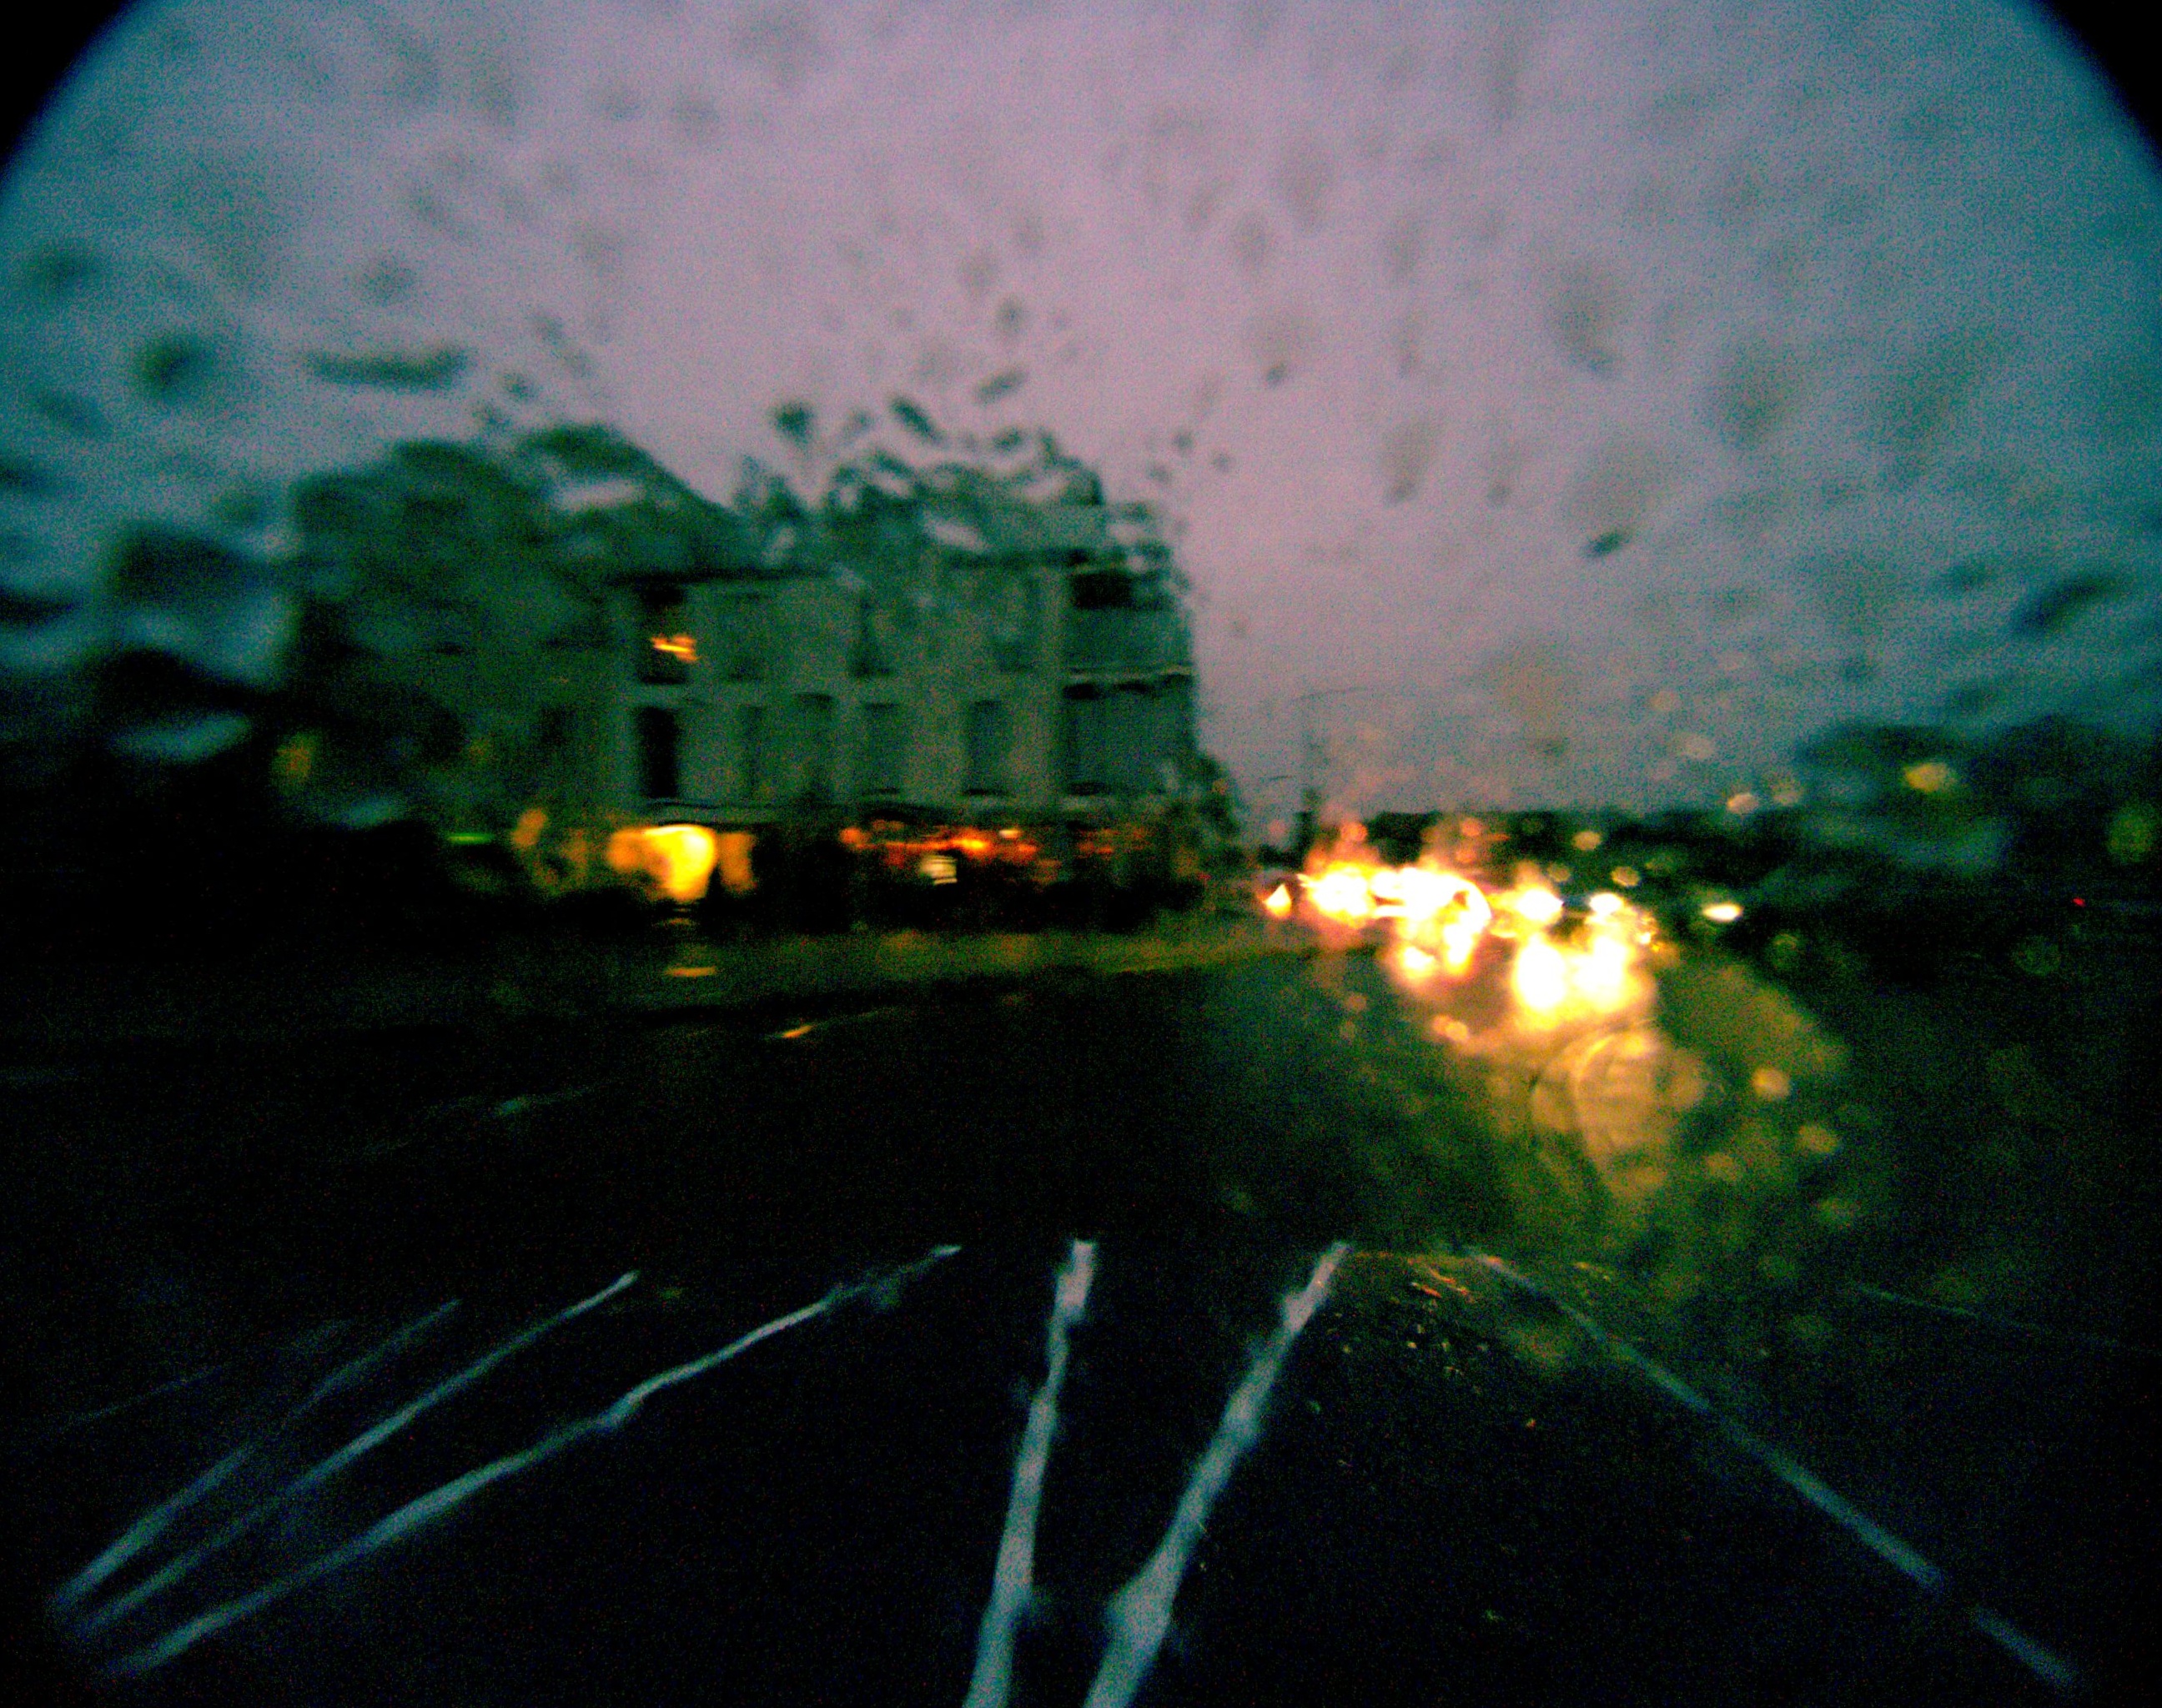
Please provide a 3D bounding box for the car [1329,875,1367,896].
[{"bbox_3d":[19.605,2.329,56.001,1.832,1.534,3.718,0,-2,6],"label":"car"}]

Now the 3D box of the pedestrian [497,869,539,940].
[{"bbox_3d":[-11.692,1.041,15.786,0.451,1.445,0.553,0,-1,-1],"label":"pedestrian"}]

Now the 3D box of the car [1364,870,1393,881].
[{"bbox_3d":[40.993,2.978,104.865,1.800,1.460,4.614,1,-1,-5],"label":"car"}]

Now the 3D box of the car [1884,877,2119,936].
[{"bbox_3d":[27.466,1.475,22.848,1.917,1.522,4.171,1,-1,-26],"label":"car"}]

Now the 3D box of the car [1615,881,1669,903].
[{"bbox_3d":[41.525,2.819,56.346,1.477,1.499,3.505,1,-1,2],"label":"car"}]

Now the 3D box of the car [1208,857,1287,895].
[{"bbox_3d":[10.268,1.346,47.186,4.547,1.922,1.977,5,-1,8],"label":"car"}]

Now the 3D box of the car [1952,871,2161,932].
[{"bbox_3d":[29.886,1.393,23.236,1.843,1.660,3.890,3,-2,-22],"label":"car"}]

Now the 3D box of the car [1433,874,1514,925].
[{"bbox_3d":[13.340,1.484,26.059,1.679,1.614,4.006,-1,-1,16],"label":"car"}]

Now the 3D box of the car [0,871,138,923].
[{"bbox_3d":[-29.864,1.214,21.924,3.441,1.465,1.520,0,-1,1],"label":"car"}]

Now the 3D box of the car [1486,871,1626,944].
[{"bbox_3d":[11.410,1.247,18.575,1.886,1.569,4.006,-2,-2,17],"label":"car"}]

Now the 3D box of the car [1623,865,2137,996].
[{"bbox_3d":[10.640,0.977,10.586,4.624,1.583,1.956,-1,-2,12],"label":"car"}]

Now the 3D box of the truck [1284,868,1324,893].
[{"bbox_3d":[20.484,2.381,70.047,2.246,2.217,6.107,0,-1,4],"label":"truck"}]

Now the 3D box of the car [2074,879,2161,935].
[{"bbox_3d":[33.041,1.633,22.541,1.767,1.621,3.994,3,-2,-18],"label":"car"}]

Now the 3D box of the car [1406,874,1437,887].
[{"bbox_3d":[41.643,3.281,93.063,1.676,1.459,4.016,3,-2,-5],"label":"car"}]

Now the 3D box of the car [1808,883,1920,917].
[{"bbox_3d":[39.920,2.305,38.880,1.778,1.560,4.096,0,-1,6],"label":"car"}]

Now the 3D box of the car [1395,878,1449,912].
[{"bbox_3d":[15.374,1.816,34.423,1.570,1.460,3.621,-1,-2,13],"label":"car"}]

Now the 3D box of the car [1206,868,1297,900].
[{"bbox_3d":[8.967,1.615,40.350,4.516,1.482,1.977,2,-3,6],"label":"car"}]

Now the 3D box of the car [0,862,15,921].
[{"bbox_3d":[-29.785,0.989,19.159,3.762,1.507,1.716,-1,0,6],"label":"car"}]

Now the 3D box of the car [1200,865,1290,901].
[{"bbox_3d":[8.021,1.393,37.450,3.996,1.494,1.814,3,1,2],"label":"car"}]

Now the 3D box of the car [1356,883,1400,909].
[{"bbox_3d":[17.562,2.471,45.076,1.739,1.434,4.004,-1,-1,11],"label":"car"}]
